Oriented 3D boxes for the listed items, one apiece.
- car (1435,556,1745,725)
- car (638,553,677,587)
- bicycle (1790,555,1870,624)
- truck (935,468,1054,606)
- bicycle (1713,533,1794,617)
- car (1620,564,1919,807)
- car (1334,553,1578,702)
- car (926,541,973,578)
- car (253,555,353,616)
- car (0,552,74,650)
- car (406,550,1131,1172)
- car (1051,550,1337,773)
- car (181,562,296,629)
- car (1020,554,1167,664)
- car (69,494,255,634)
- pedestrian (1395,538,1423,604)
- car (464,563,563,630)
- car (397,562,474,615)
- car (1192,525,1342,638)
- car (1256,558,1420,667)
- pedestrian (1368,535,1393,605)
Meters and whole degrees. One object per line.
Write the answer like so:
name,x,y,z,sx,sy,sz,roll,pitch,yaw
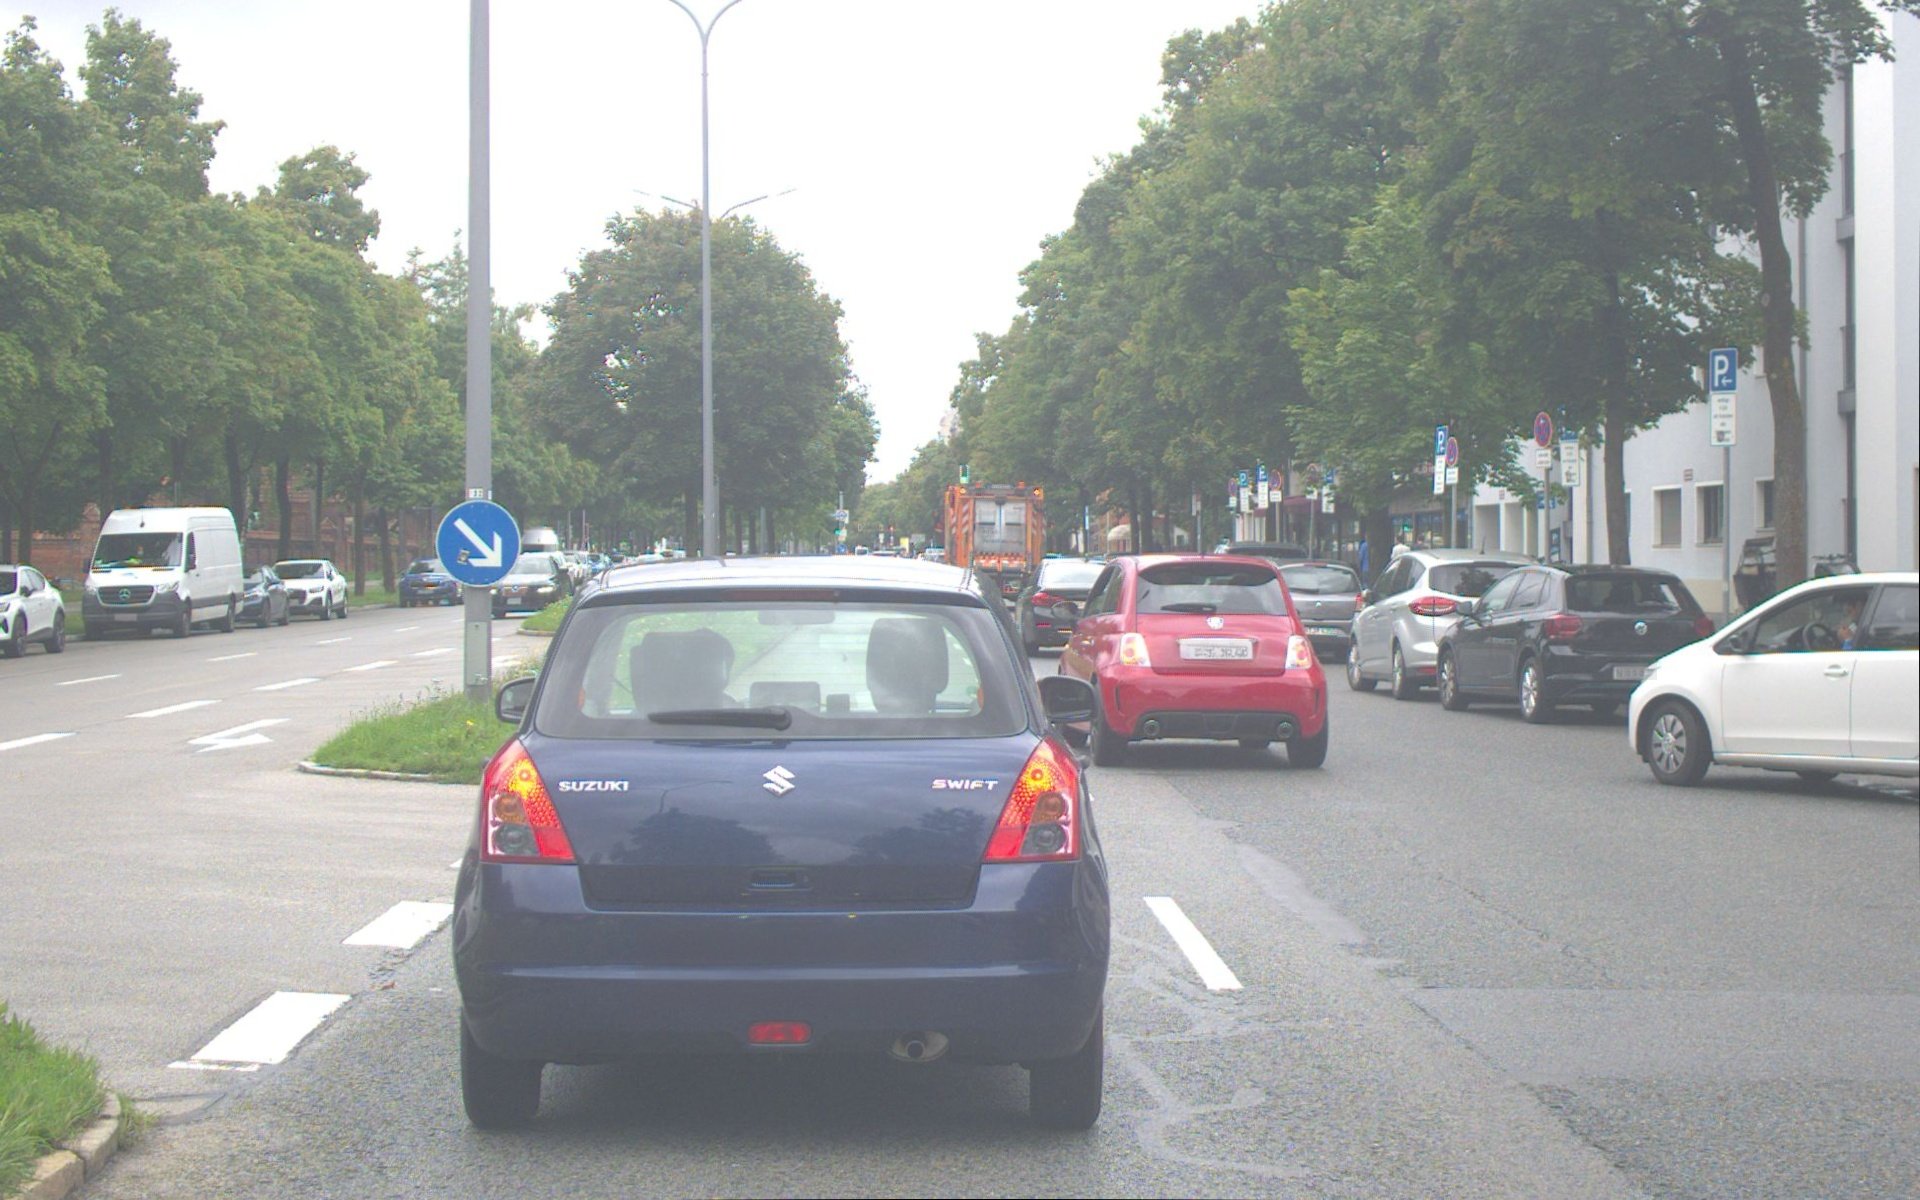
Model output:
car,5.819,0.331,32.217,1.829,1.468,3.889,0,1,-6
car,-14.810,-1.488,168.527,1.761,1.532,4.315,-3,1,-4
bicycle,13.914,-0.177,55.038,0.621,1.043,2.195,-4,1,-1
truck,0.842,-1.726,95.121,3.041,3.545,13.675,0,1,0
bicycle,13.682,-0.443,59.328,0.702,1.402,2.593,-2,1,-1
car,6.156,0.518,22.250,1.687,1.485,3.434,-1,1,-38
car,5.324,0.254,37.441,1.829,1.517,4.524,0,1,-2
car,-0.448,-1.687,143.019,1.829,1.517,3.771,0,1,-2
car,-16.322,-0.349,85.542,1.857,1.485,4.142,0,0,-2
car,-15.822,0.046,55.909,1.821,1.522,4.299,-2,0,-2
car,-0.477,0.604,10.324,1.753,1.499,4.000,0,1,0
car,1.649,0.389,25.516,1.718,1.495,4.301,0,1,-1
car,-16.330,-0.091,78.003,1.857,1.485,4.252,0,0,-2
car,1.912,0.099,50.603,1.821,1.472,4.691,2,1,-1
car,-16.116,-0.773,69.855,2.139,2.634,7.106,-1,1,-1
pedestrian,11.095,-0.718,84.956,0.549,1.624,0.641,-2,1,-1
car,-10.327,-0.105,79.763,1.815,1.443,4.783,-1,1,-2
car,-16.548,-0.372,108.640,1.886,1.532,4.315,-3,1,-3
car,4.882,-0.320,55.275,1.829,1.740,4.509,0,1,-2
car,5.459,0.151,50.055,1.829,1.517,3.771,0,1,-2
pedestrian,10.406,-0.754,85.082,0.499,1.727,0.733,0,1,-1
